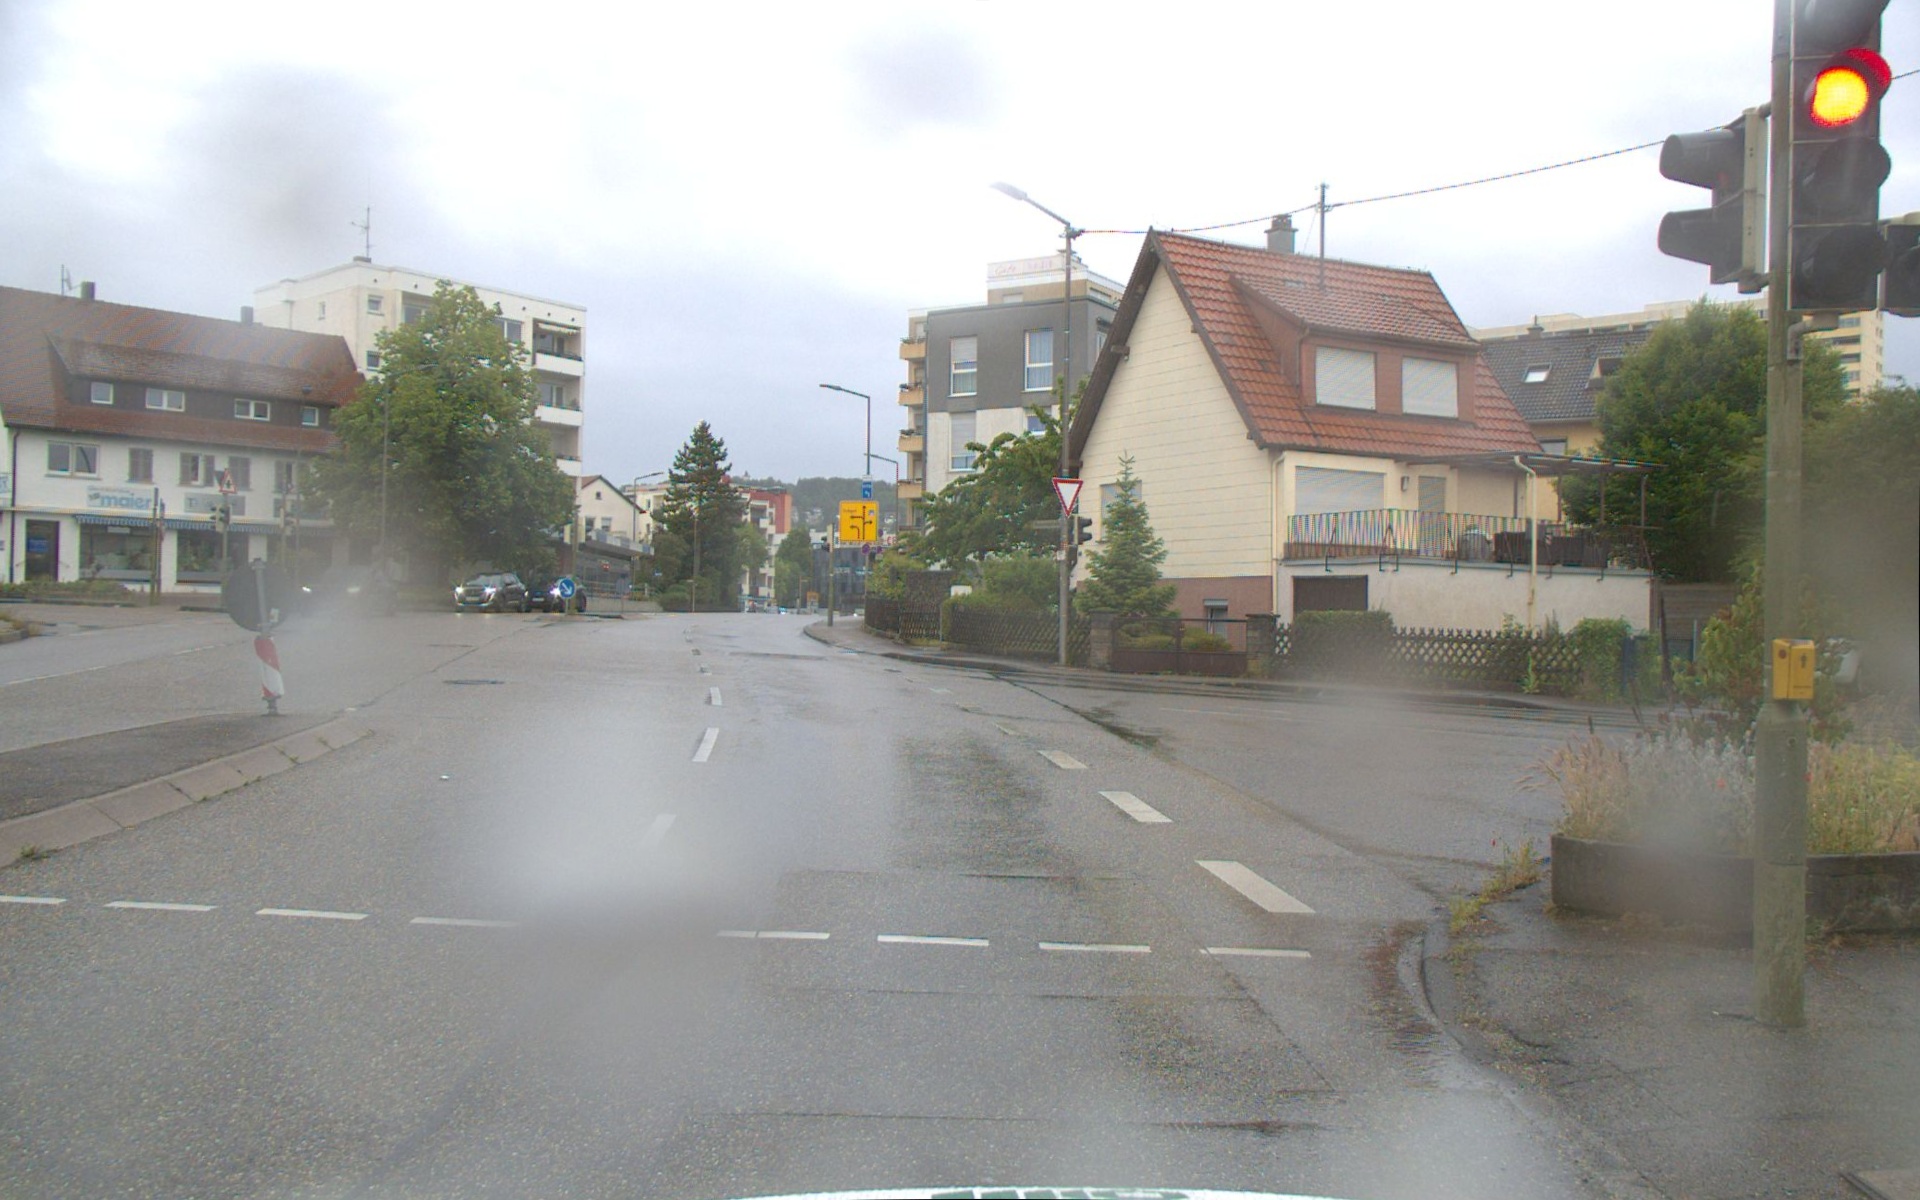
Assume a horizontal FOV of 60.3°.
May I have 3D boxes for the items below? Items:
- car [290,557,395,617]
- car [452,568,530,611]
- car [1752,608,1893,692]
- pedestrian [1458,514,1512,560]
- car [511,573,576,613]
[{"bbox_3d":[-17.944,-0.365,47.953,1.975,1.653,4.488,1,0,-32],"label":"car"},{"bbox_3d":[-17.786,-0.376,62.892,1.927,1.538,3.998,1,0,-2],"label":"car"},{"bbox_3d":[15.627,0.870,29.868,1.780,1.386,3.986,1,0,35],"label":"car"},{"bbox_3d":[11.157,-1.329,35.169,0.902,0.898,0.632,1,-2,-20],"label":"pedestrian"},{"bbox_3d":[-17.833,-0.286,70.952,1.841,1.625,4.182,1,0,-2],"label":"car"}]
